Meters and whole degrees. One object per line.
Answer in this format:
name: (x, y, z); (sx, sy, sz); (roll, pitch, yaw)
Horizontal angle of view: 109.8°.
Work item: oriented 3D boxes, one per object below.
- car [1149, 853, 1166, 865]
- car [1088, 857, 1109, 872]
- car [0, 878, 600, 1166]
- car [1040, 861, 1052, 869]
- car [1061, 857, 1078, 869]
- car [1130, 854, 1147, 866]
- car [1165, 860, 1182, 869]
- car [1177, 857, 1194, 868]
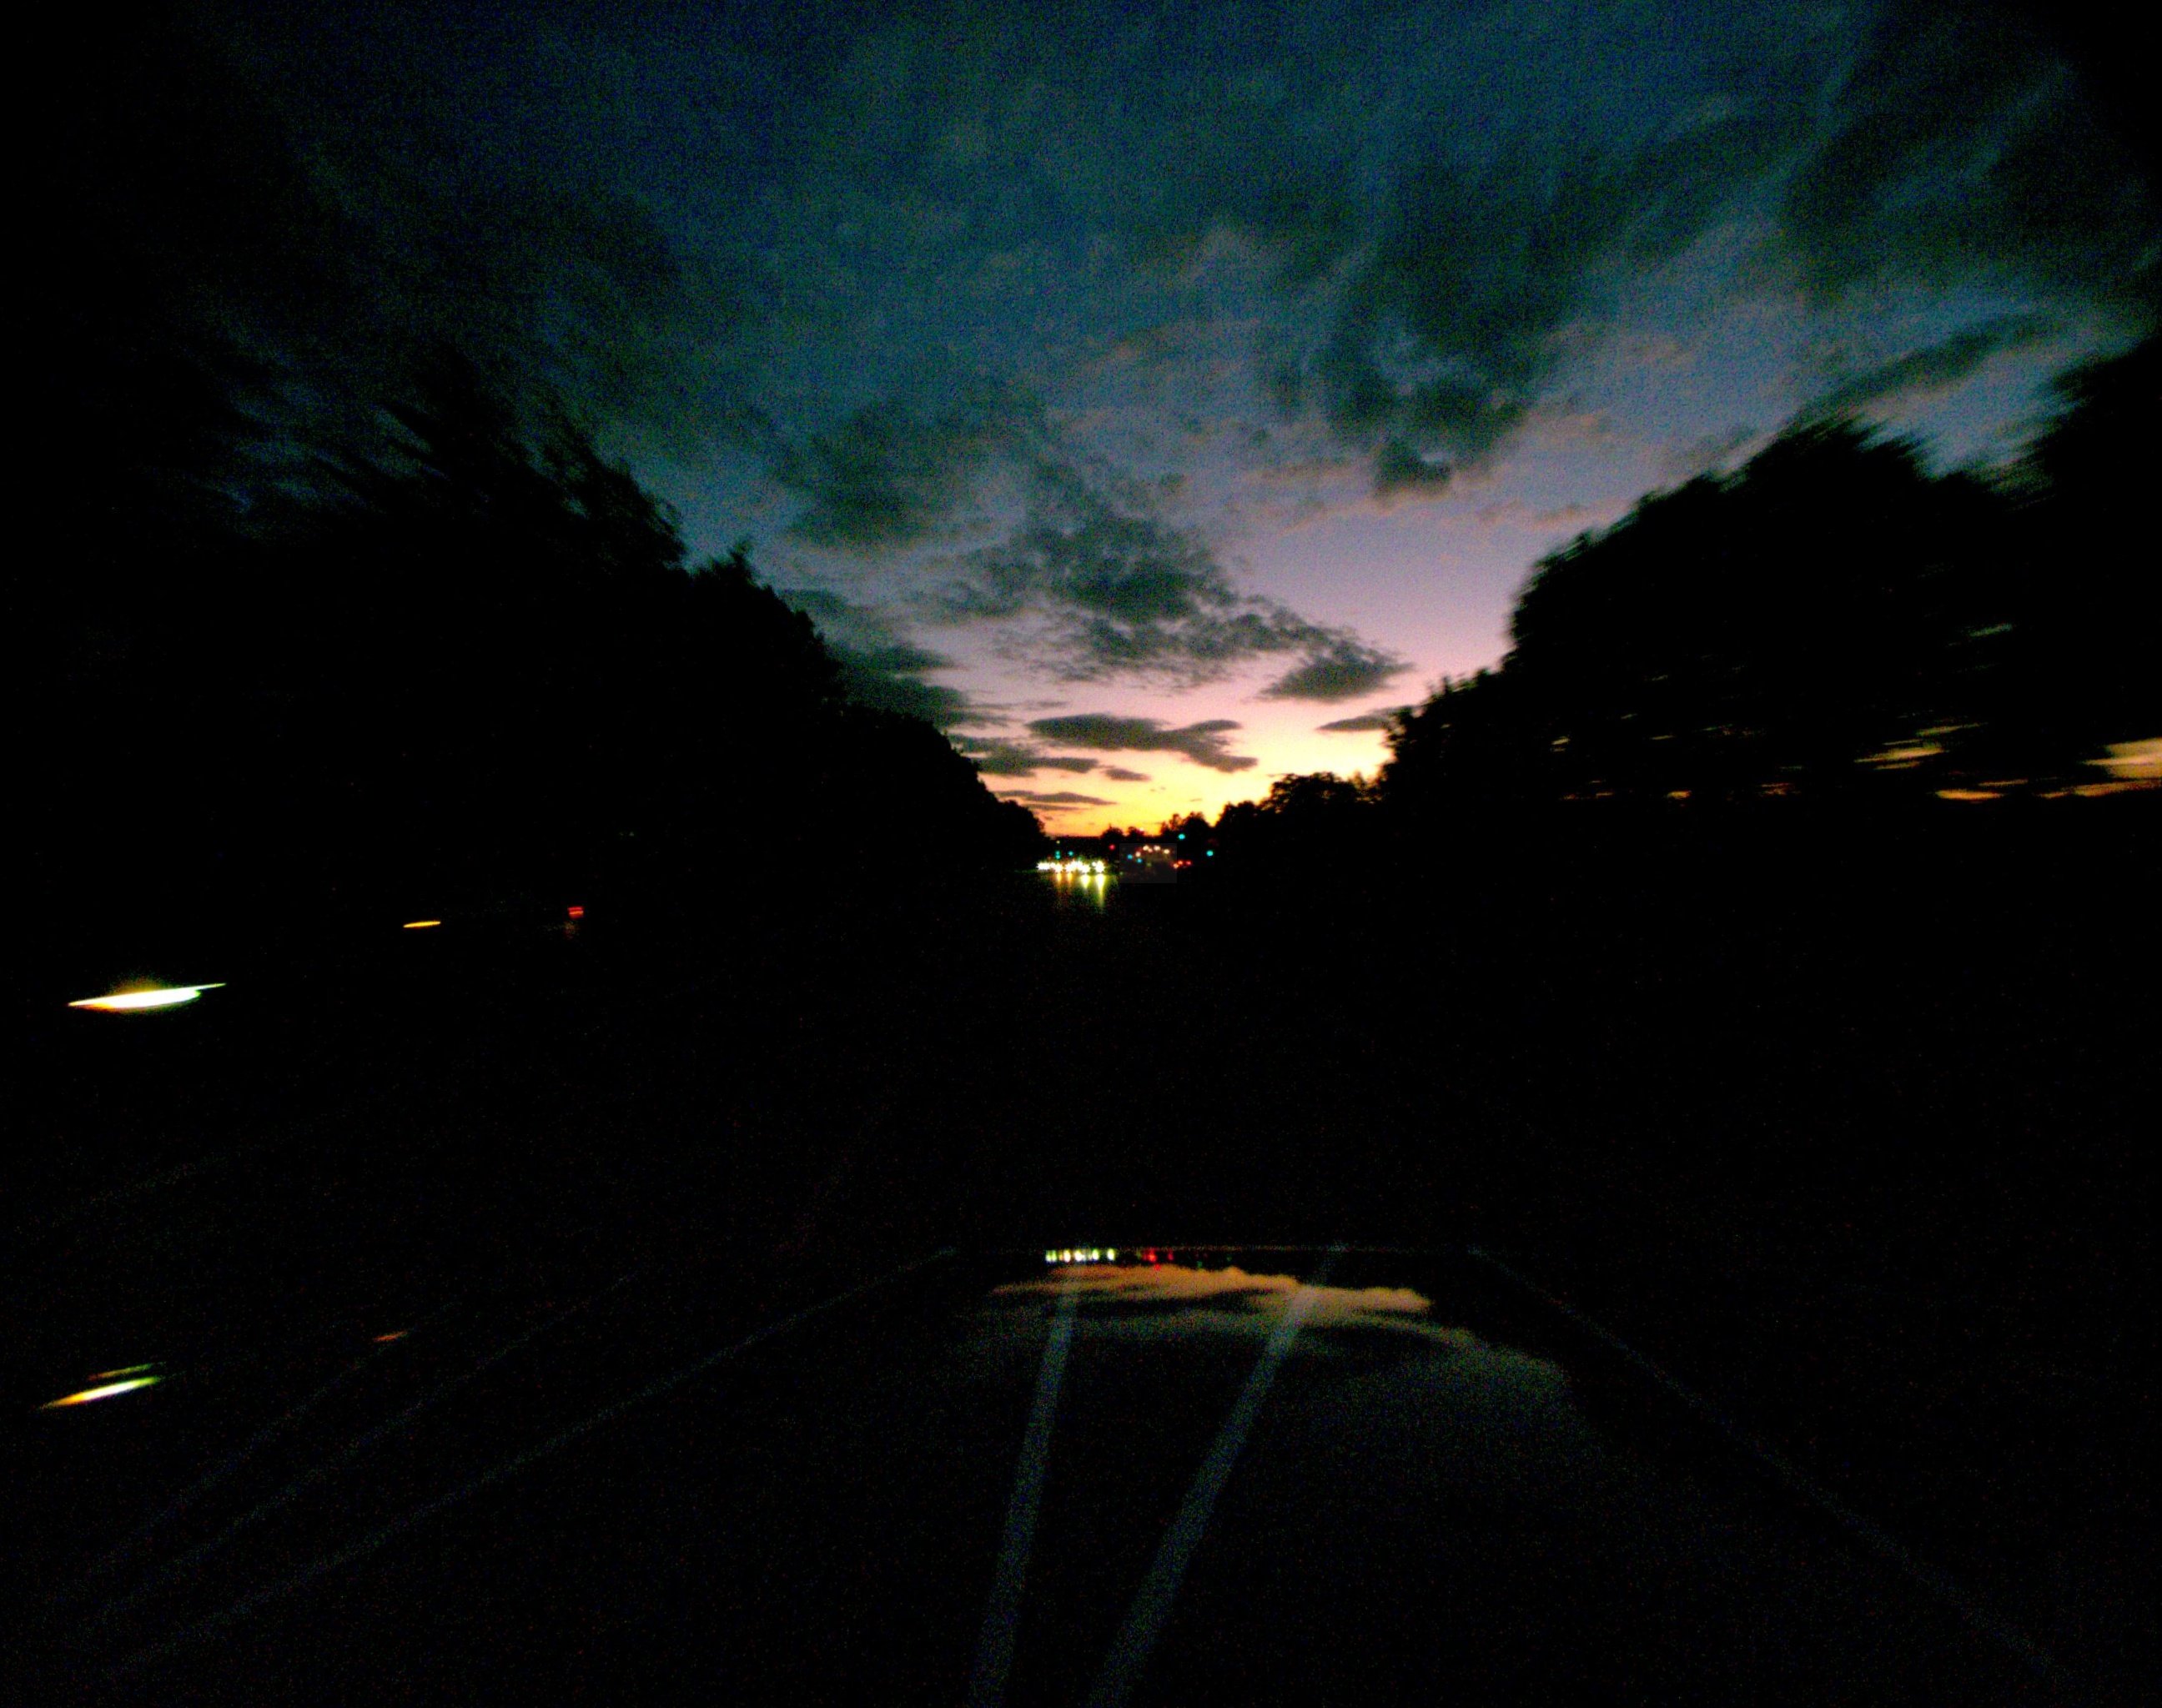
car: (11.445, 0.774, 113.951); (1.999, 1.672, 4.872); (0, 1, -2)
car: (1.717, 1.040, 75.467); (1.998, 1.444, 4.735); (-1, 0, 2)
car: (-6.754, 1.111, 6.911); (1.906, 1.610, 4.555); (-1, 0, -2)
car: (-7.927, 2.429, 171.696); (2.007, 1.717, 4.002); (-1, 0, 6)
car: (-1.494, 1.179, 95.526); (1.999, 1.444, 3.999); (1, 0, -2)
car: (7.931, 0.821, 105.305); (1.998, 1.560, 4.823); (0, 0, 1)
car: (14.192, 1.640, 117.188); (1.999, 1.444, 4.734); (0, -1, -1)
car: (15.304, 1.225, 111.490); (1.998, 1.444, 4.734); (0, 0, 0)
